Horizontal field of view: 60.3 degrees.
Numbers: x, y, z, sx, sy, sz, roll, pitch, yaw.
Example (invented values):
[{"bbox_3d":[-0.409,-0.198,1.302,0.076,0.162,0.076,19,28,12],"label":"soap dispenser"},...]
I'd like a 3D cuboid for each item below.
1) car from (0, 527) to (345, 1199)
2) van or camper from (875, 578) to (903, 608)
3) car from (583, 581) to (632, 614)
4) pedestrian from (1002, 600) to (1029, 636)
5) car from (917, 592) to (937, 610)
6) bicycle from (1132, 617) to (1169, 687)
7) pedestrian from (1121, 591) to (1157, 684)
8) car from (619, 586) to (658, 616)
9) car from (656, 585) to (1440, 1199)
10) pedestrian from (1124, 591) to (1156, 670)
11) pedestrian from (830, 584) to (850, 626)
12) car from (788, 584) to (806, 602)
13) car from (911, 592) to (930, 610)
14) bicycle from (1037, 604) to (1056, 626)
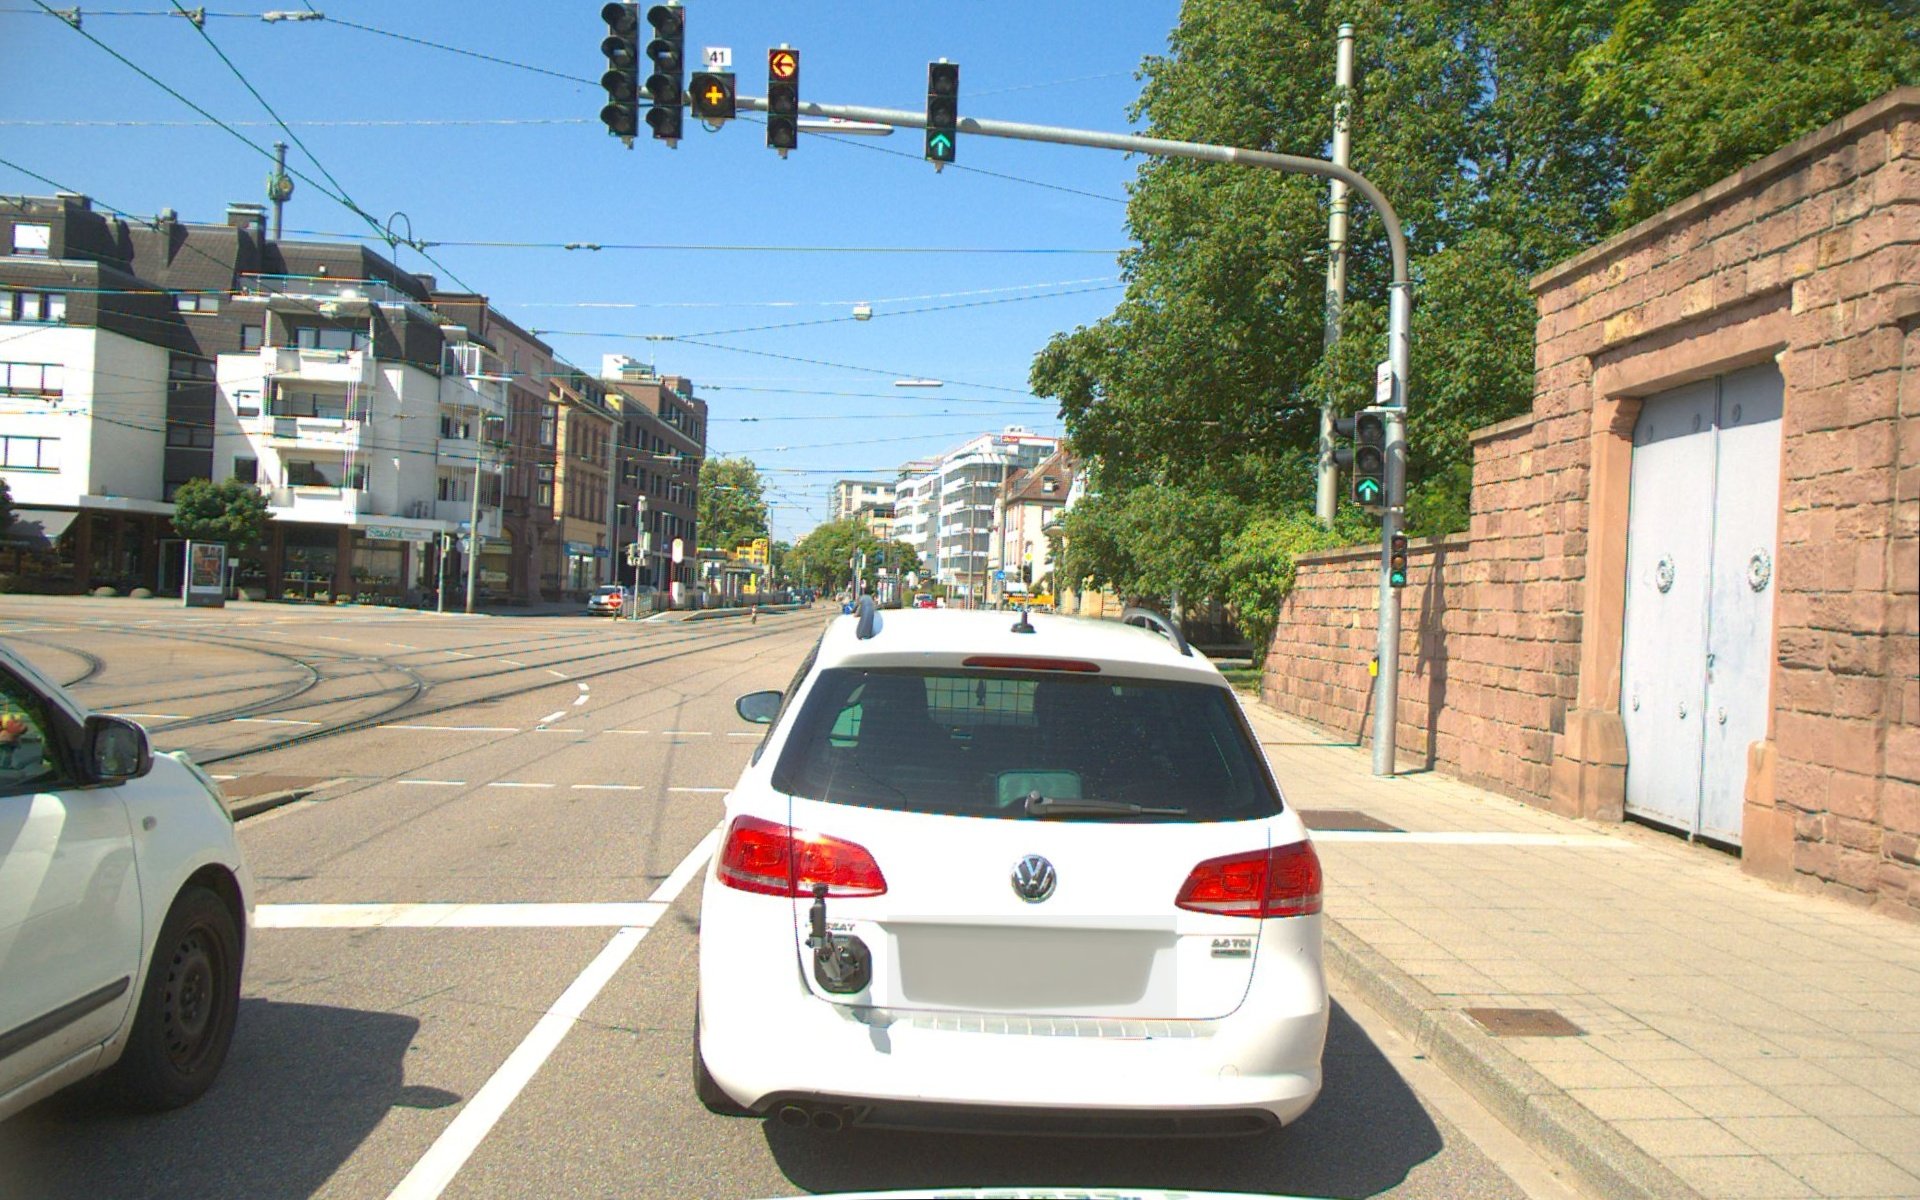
[{"bbox_3d":[-2.890,0.624,3.432,1.730,1.588,4.066,1,0,-1],"label":"car"},{"bbox_3d":[-7.906,-0.773,183.138,2.885,3.235,6.609,2,0,-3],"label":"van or camper"},{"bbox_3d":[-17.026,-0.101,80.100,1.593,1.456,3.961,4,0,-3],"label":"car"},{"bbox_3d":[2.461,0.793,73.318,0.843,1.536,0.777,2,0,41],"label":"pedestrian"},{"bbox_3d":[-3.831,0.093,192.347,1.955,2.049,3.995,2,0,-6],"label":"car"},{"bbox_3d":[3.235,0.862,27.997,0.524,1.131,1.808,1,-1,8],"label":"bicycle"},{"bbox_3d":[3.057,0.627,28.224,0.529,1.576,0.663,0,0,-2],"label":"pedestrian"},{"bbox_3d":[-17.061,0.043,87.853,1.542,1.484,3.811,2,0,-4],"label":"car"},{"bbox_3d":[0.177,0.717,5.646,1.717,1.442,3.852,2,0,-1],"label":"car"},{"bbox_3d":[4.004,0.677,36.802,0.636,1.711,0.708,2,0,6],"label":"pedestrian"},{"bbox_3d":[-5.454,0.228,75.290,0.810,1.841,0.833,2,0,-1],"label":"pedestrian"},{"bbox_3d":[-20.087,-0.858,203.511,1.954,2.049,3.998,1,0,-3],"label":"car"},{"bbox_3d":[-4.701,0.063,197.739,1.955,2.049,3.995,2,0,-6],"label":"car"},{"bbox_3d":[4.733,0.823,90.236,0.710,1.159,2.196,2,0,11],"label":"bicycle"}]
